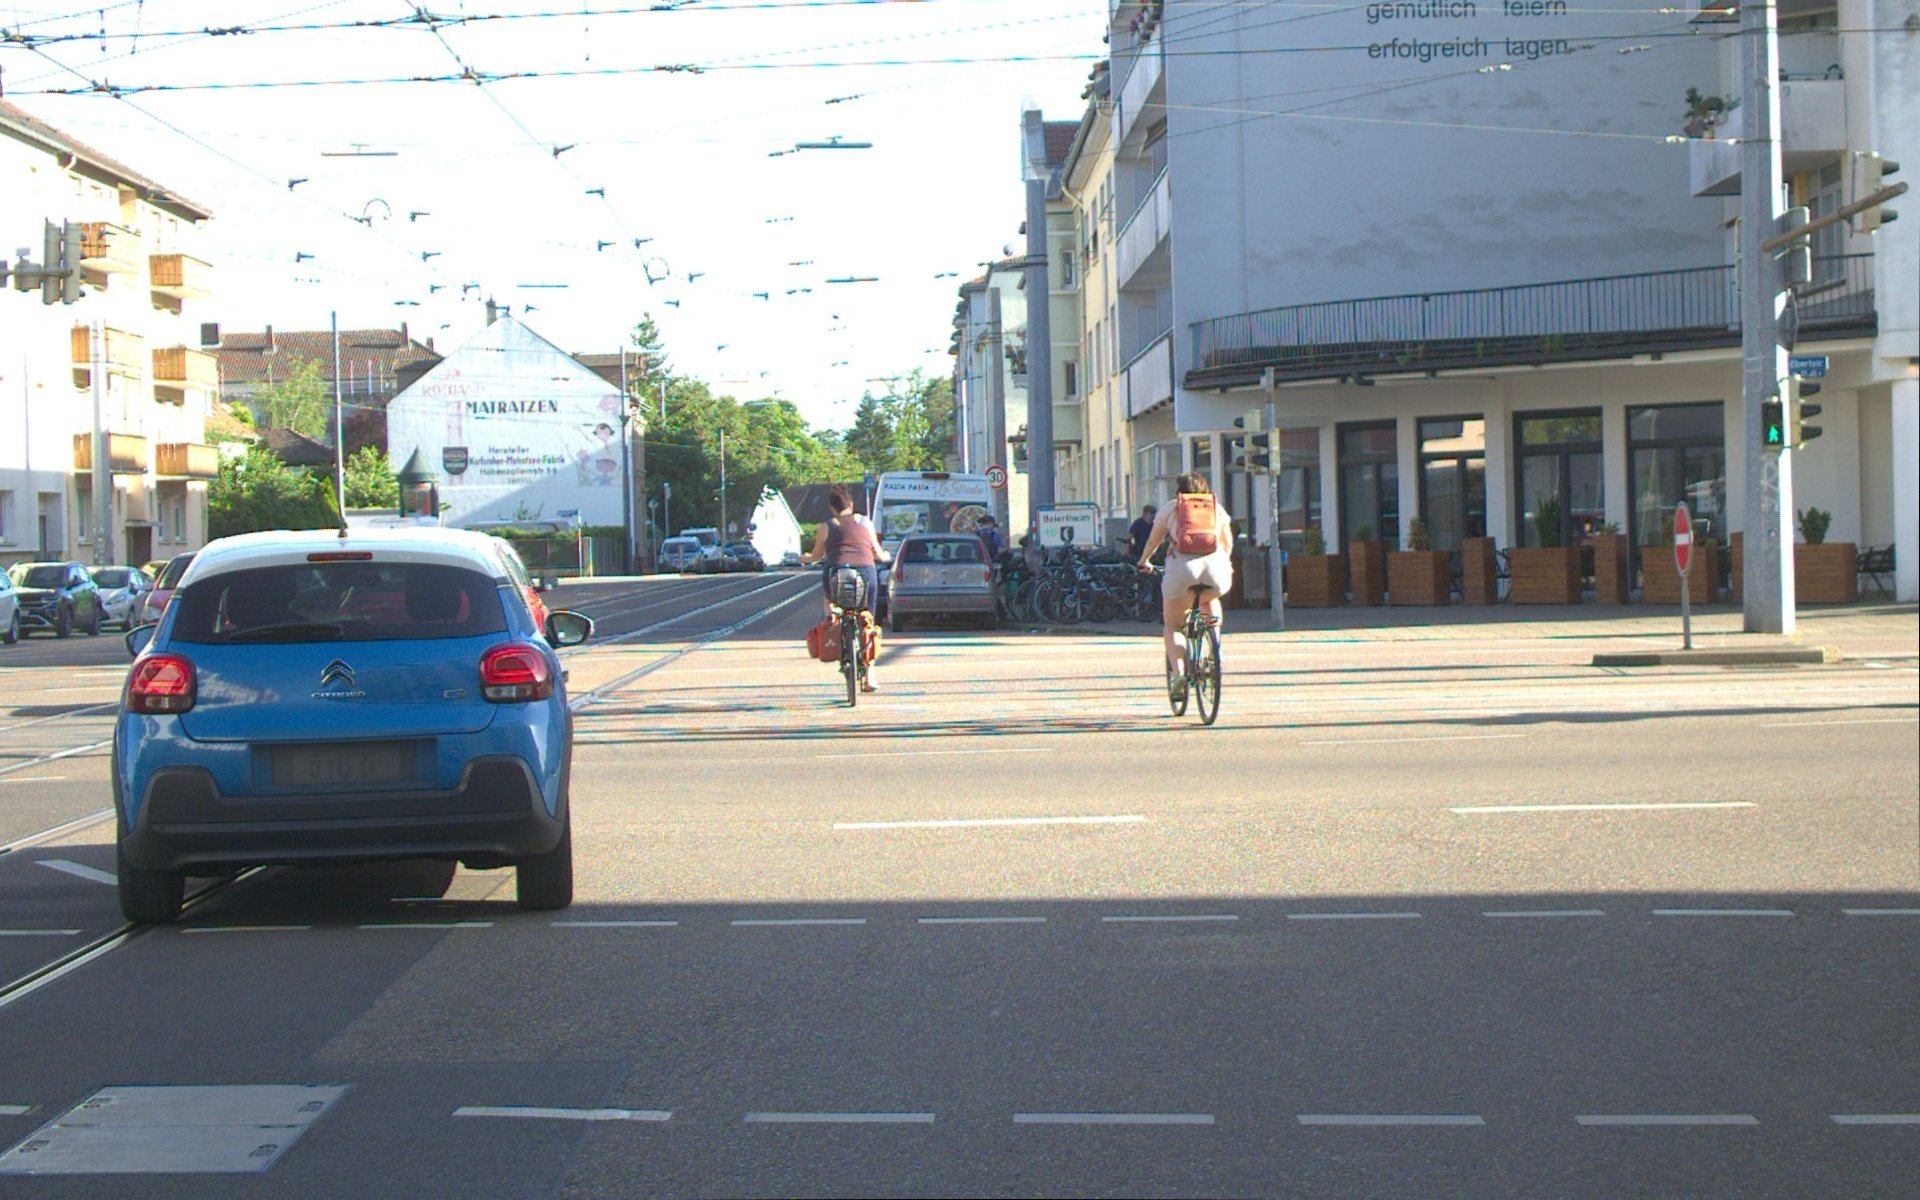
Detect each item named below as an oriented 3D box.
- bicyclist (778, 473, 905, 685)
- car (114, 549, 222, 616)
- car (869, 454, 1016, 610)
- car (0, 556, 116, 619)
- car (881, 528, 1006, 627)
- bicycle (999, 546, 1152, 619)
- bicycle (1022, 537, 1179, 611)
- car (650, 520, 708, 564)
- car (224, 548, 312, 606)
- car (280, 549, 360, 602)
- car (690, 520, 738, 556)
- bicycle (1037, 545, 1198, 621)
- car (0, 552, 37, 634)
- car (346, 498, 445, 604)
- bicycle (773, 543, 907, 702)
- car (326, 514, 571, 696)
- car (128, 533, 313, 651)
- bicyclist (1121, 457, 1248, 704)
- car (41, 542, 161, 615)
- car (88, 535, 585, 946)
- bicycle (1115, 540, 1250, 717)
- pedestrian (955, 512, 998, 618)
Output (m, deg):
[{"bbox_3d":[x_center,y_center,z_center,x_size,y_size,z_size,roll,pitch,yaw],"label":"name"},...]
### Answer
[{"bbox_3d":[-0.943,-0.173,27.686,0.940,1.667,1.079,1,1,1],"label":"bicyclist"},{"bbox_3d":[-19.238,-0.452,83.652,1.869,1.571,4.001,1,1,-3],"label":"car"},{"bbox_3d":[-0.342,-1.126,57.169,2.265,2.473,5.009,0,1,-2],"label":"car"},{"bbox_3d":[-18.979,-0.274,71.367,1.947,1.235,4.283,1,1,-2],"label":"car"},{"bbox_3d":[-0.289,-0.363,52.225,1.657,1.426,3.889,1,1,-4],"label":"car"},{"bbox_3d":[1.765,-0.273,52.626,2.251,0.998,0.856,-2,1,-2],"label":"bicycle"},{"bbox_3d":[2.101,-0.392,51.511,2.251,0.998,0.856,-2,1,-2],"label":"bicycle"},{"bbox_3d":[-12.684,-2.619,155.243,2.218,1.925,4.950,1,1,0],"label":"car"},{"bbox_3d":[-19.662,-0.668,97.811,1.869,1.571,4.001,1,1,-3],"label":"car"},{"bbox_3d":[-19.491,-0.769,104.810,1.869,1.571,4.001,1,1,-3],"label":"car"},{"bbox_3d":[-12.370,-3.118,172.786,2.074,1.756,5.037,1,1,0],"label":"car"},{"bbox_3d":[2.288,-0.249,50.131,2.251,0.998,0.856,-2,1,-2],"label":"bicycle"},{"bbox_3d":[-18.810,-0.148,64.766,1.741,1.521,4.230,1,1,-1],"label":"car"},{"bbox_3d":[-17.080,-1.487,104.204,2.418,3.131,3.488,1,1,0],"label":"car"},{"bbox_3d":[-0.948,0.160,27.742,0.940,1.219,2.094,1,1,1],"label":"bicycle"},{"bbox_3d":[-4.582,-0.002,31.236,1.784,1.516,3.763,1,2,-2],"label":"car"},{"bbox_3d":[-9.978,-0.136,46.632,1.778,1.481,3.829,-2,1,-2],"label":"car"},{"bbox_3d":[1.576,-0.141,24.042,0.811,1.686,0.935,1,1,7],"label":"bicyclist"},{"bbox_3d":[-19.346,-0.507,77.588,1.869,1.571,4.001,1,1,-3],"label":"car"},{"bbox_3d":[-2.460,0.465,14.072,1.736,1.447,3.663,0,1,-8],"label":"car"},{"bbox_3d":[1.590,0.178,24.258,0.811,1.177,2.063,1,1,7],"label":"bicycle"},{"bbox_3d":[0.262,-0.551,54.243,0.613,1.648,0.671,1,1,-4],"label":"pedestrian"}]
